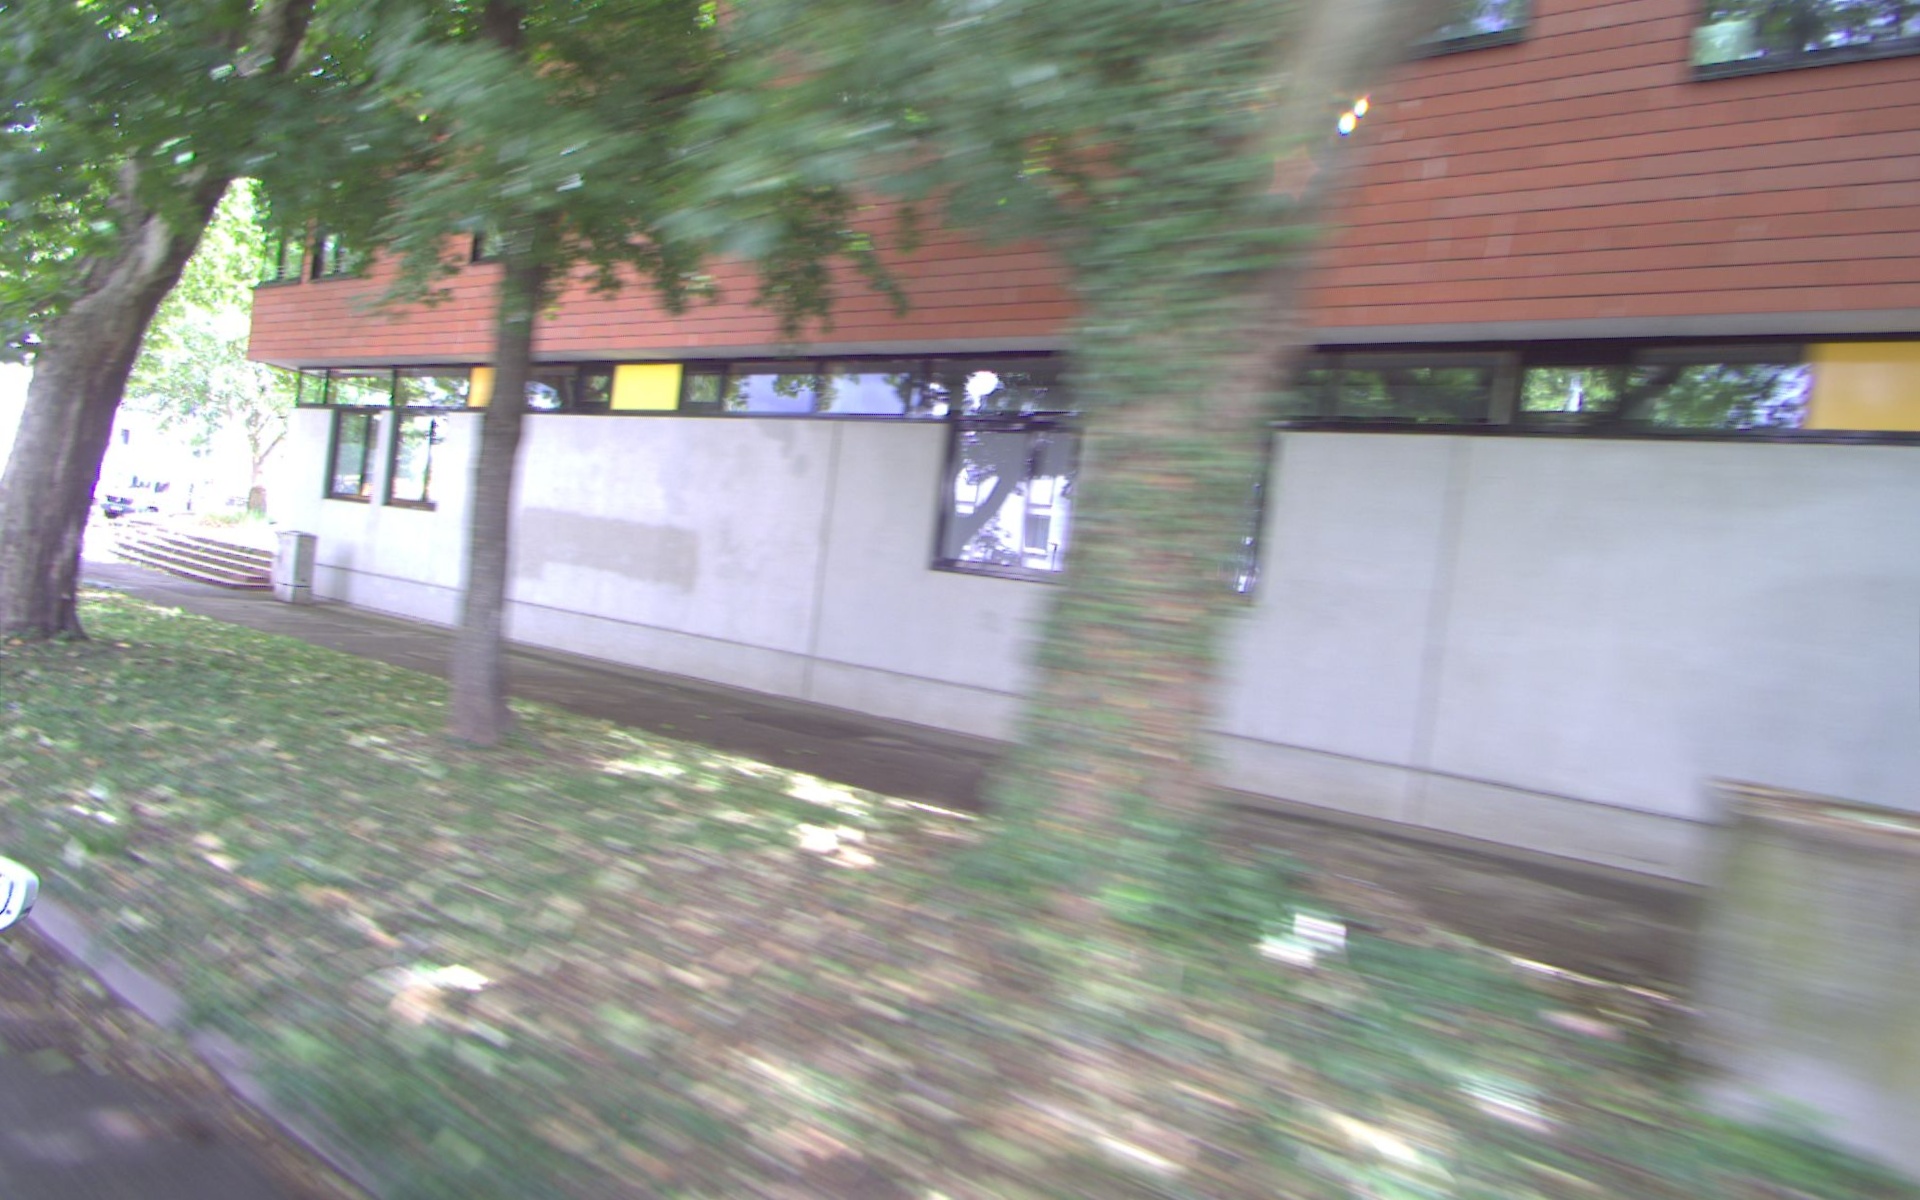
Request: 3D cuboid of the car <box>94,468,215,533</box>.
[{"bbox_3d":[-39.566,-4.828,49.557,2.117,2.393,4.257,7,-1,5],"label":"car"}]
